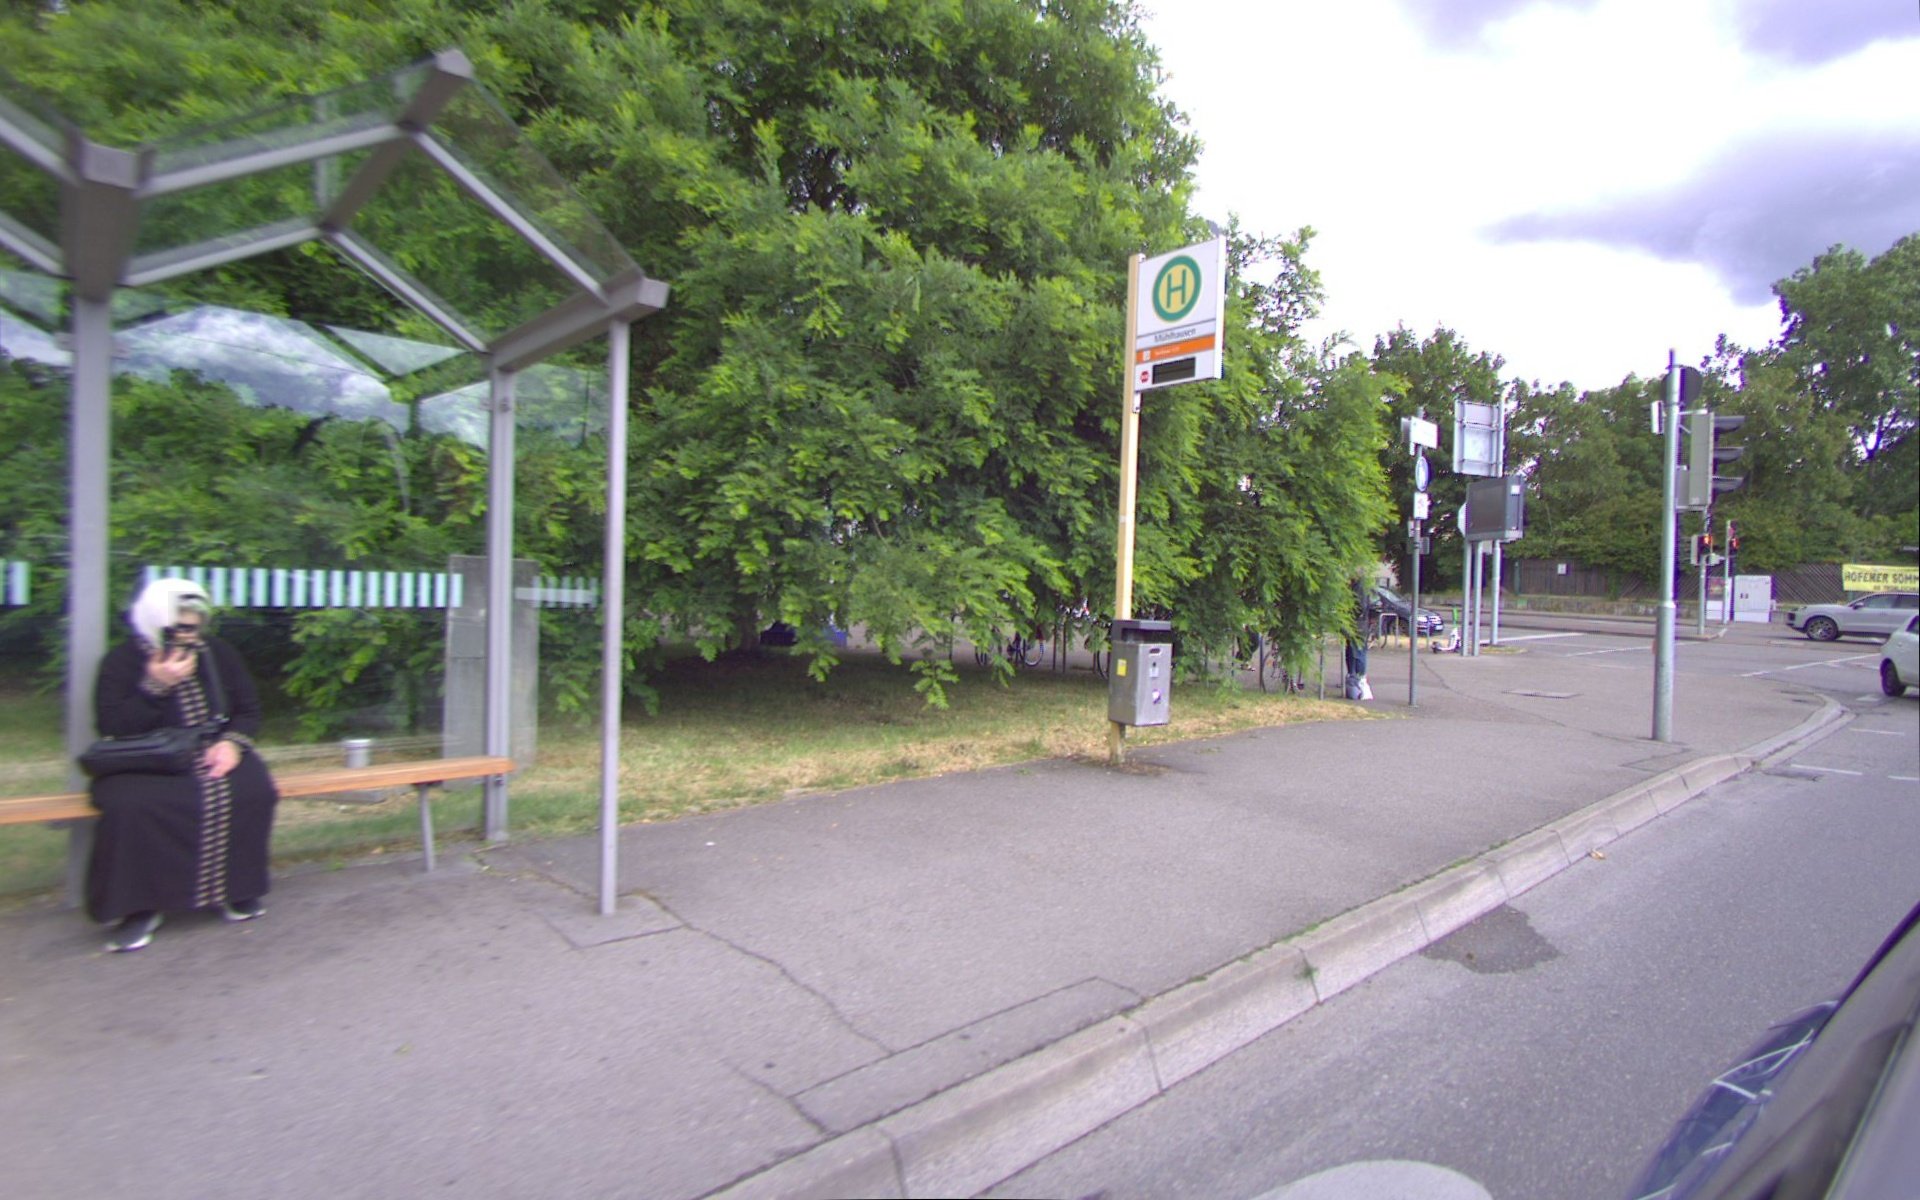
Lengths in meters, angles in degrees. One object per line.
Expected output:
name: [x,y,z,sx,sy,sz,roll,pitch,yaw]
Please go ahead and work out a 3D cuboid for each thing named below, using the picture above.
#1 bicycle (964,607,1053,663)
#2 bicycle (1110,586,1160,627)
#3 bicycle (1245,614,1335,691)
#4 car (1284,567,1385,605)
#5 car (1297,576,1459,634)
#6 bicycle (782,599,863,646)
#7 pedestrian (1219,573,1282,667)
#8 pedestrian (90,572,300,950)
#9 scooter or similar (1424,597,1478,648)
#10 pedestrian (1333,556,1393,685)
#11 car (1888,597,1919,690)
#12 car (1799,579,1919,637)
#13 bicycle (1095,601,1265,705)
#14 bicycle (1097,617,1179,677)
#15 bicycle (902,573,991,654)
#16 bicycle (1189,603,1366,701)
bicycle: [0.824,0.555,16.789,0.476,0.867,1.712,1,1,42]
bicycle: [5.152,0.167,29.800,0.580,1.129,1.788,5,4,40]
bicycle: [4.408,0.671,13.441,0.521,0.917,1.826,4,1,38]
car: [16.206,-0.630,43.883,3.771,1.506,1.653,3,2,39]
car: [12.490,0.087,30.428,4.174,1.550,1.695,3,3,44]
bicycle: [-2.681,0.424,19.867,0.476,0.867,1.632,1,1,42]
pedestrian: [4.939,0.324,17.218,0.659,1.532,0.754,0,3,-42]
pedestrian: [-2.724,0.504,3.594,0.537,1.172,0.602,0,3,-42]
scooter or similar: [11.423,0.514,23.524,1.209,1.125,0.654,0,2,-40]
pedestrian: [5.706,0.275,14.341,0.687,1.775,0.413,1,1,43]
car: [15.762,0.730,15.089,1.656,1.466,3.577,2,2,23]
car: [29.373,0.270,31.458,1.648,1.662,4.848,0,3,-41]
bicycle: [2.274,0.510,10.748,0.579,0.951,2.047,1,1,-27]
bicycle: [2.666,0.678,15.057,0.476,0.818,1.491,1,1,42]
bicycle: [-0.220,0.224,18.190,0.644,1.389,1.632,1,0,42]
bicycle: [3.536,0.552,11.403,0.535,0.936,1.870,3,1,-41]
